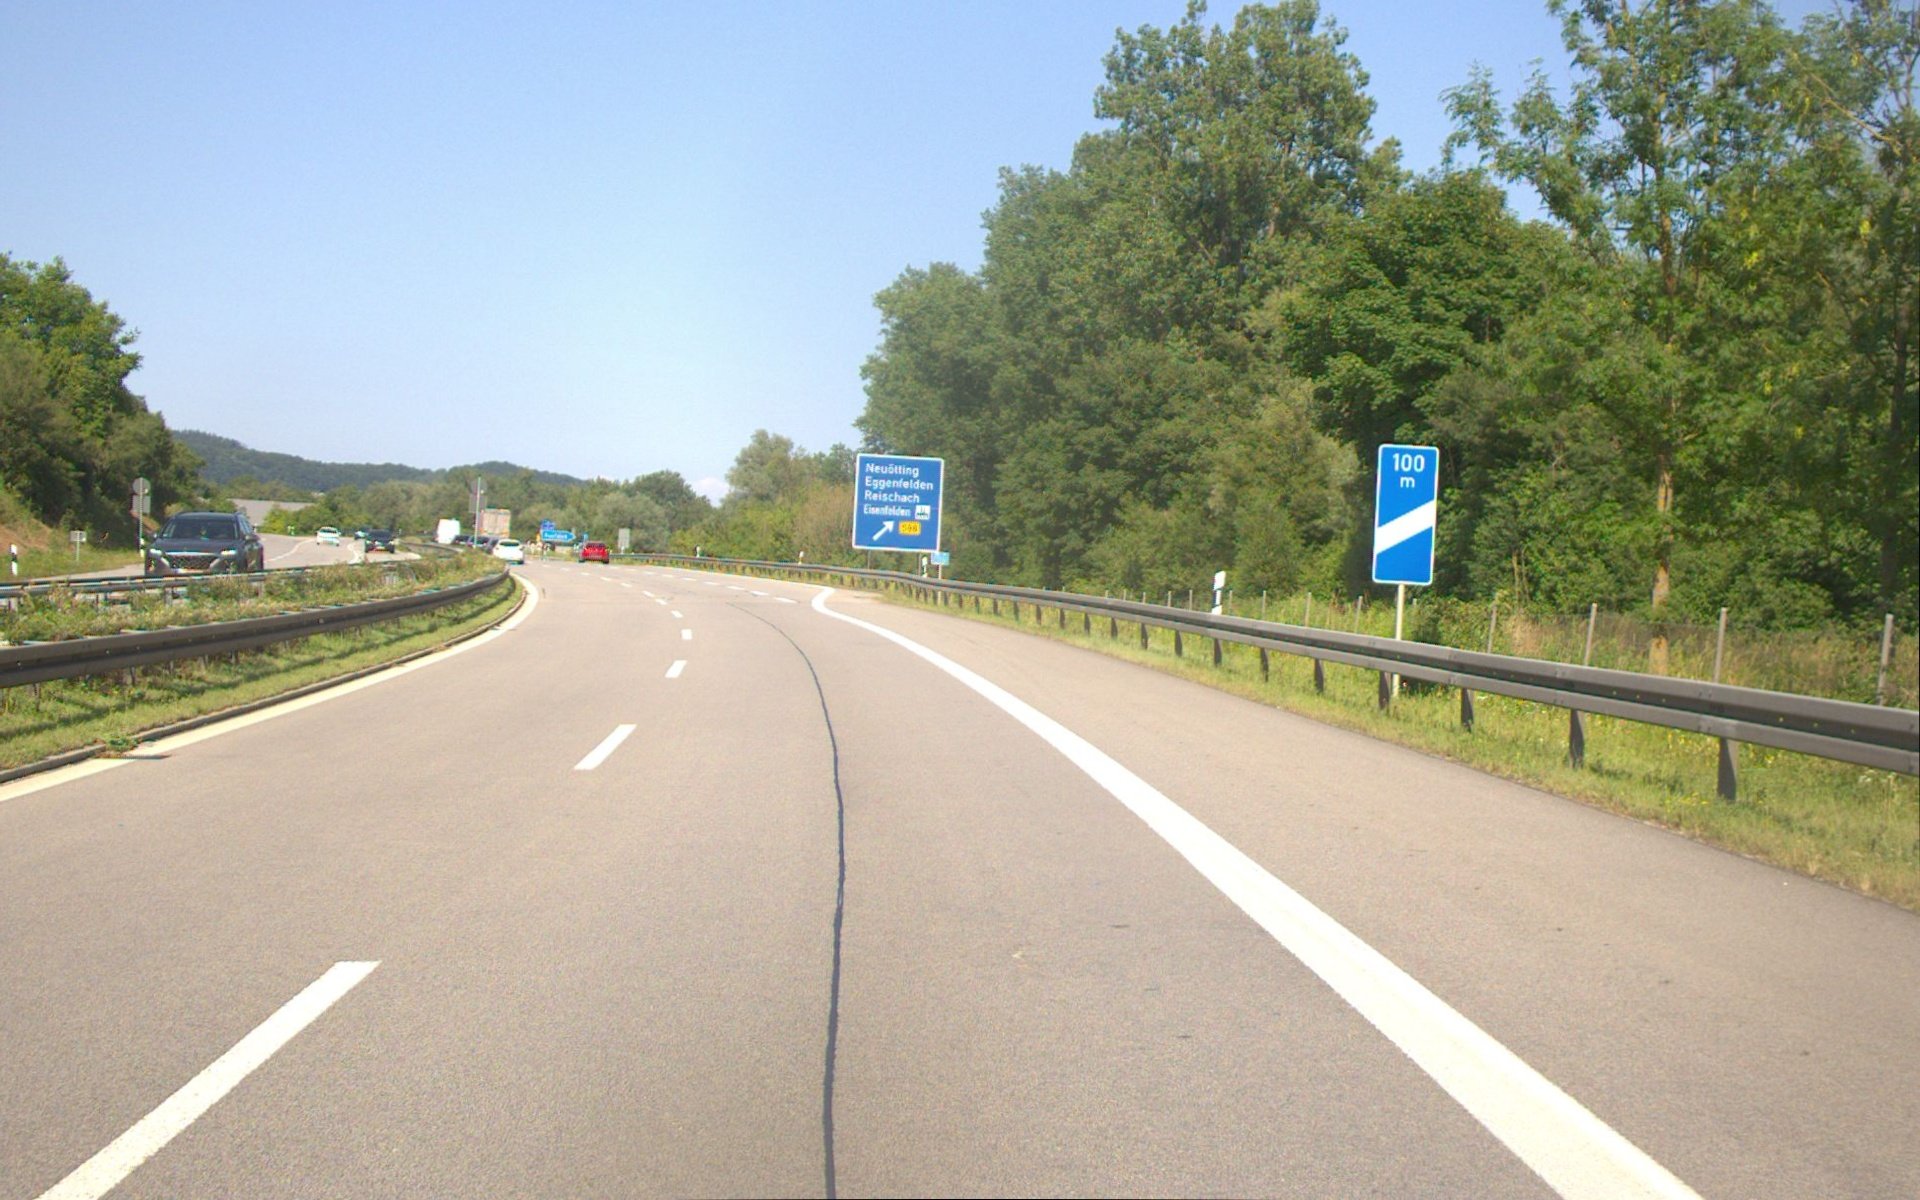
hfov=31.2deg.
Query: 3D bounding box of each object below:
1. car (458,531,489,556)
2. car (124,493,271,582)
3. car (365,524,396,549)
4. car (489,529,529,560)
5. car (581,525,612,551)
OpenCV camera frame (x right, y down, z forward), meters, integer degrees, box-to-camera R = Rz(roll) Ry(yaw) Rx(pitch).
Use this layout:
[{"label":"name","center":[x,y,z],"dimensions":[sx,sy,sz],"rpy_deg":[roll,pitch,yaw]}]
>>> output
[{"label":"car","center":[-34.171,-3.984,241.494],"dimensions":[1.993,1.744,4.001],"rpy_deg":[1,1,-11]},{"label":"car","center":[-14.996,-1.242,67.870],"dimensions":[2.067,1.673,4.888],"rpy_deg":[0,1,-3]},{"label":"car","center":[-36.178,-3.944,214.527],"dimensions":[1.644,1.450,4.908],"rpy_deg":[1,0,-7]},{"label":"car","center":[-26.236,-3.215,199.803],"dimensions":[2.061,1.619,4.001],"rpy_deg":[2,-1,-10]},{"label":"car","center":[-23.515,-4.016,222.633],"dimensions":[1.783,1.426,4.001],"rpy_deg":[6,-1,-5]}]
